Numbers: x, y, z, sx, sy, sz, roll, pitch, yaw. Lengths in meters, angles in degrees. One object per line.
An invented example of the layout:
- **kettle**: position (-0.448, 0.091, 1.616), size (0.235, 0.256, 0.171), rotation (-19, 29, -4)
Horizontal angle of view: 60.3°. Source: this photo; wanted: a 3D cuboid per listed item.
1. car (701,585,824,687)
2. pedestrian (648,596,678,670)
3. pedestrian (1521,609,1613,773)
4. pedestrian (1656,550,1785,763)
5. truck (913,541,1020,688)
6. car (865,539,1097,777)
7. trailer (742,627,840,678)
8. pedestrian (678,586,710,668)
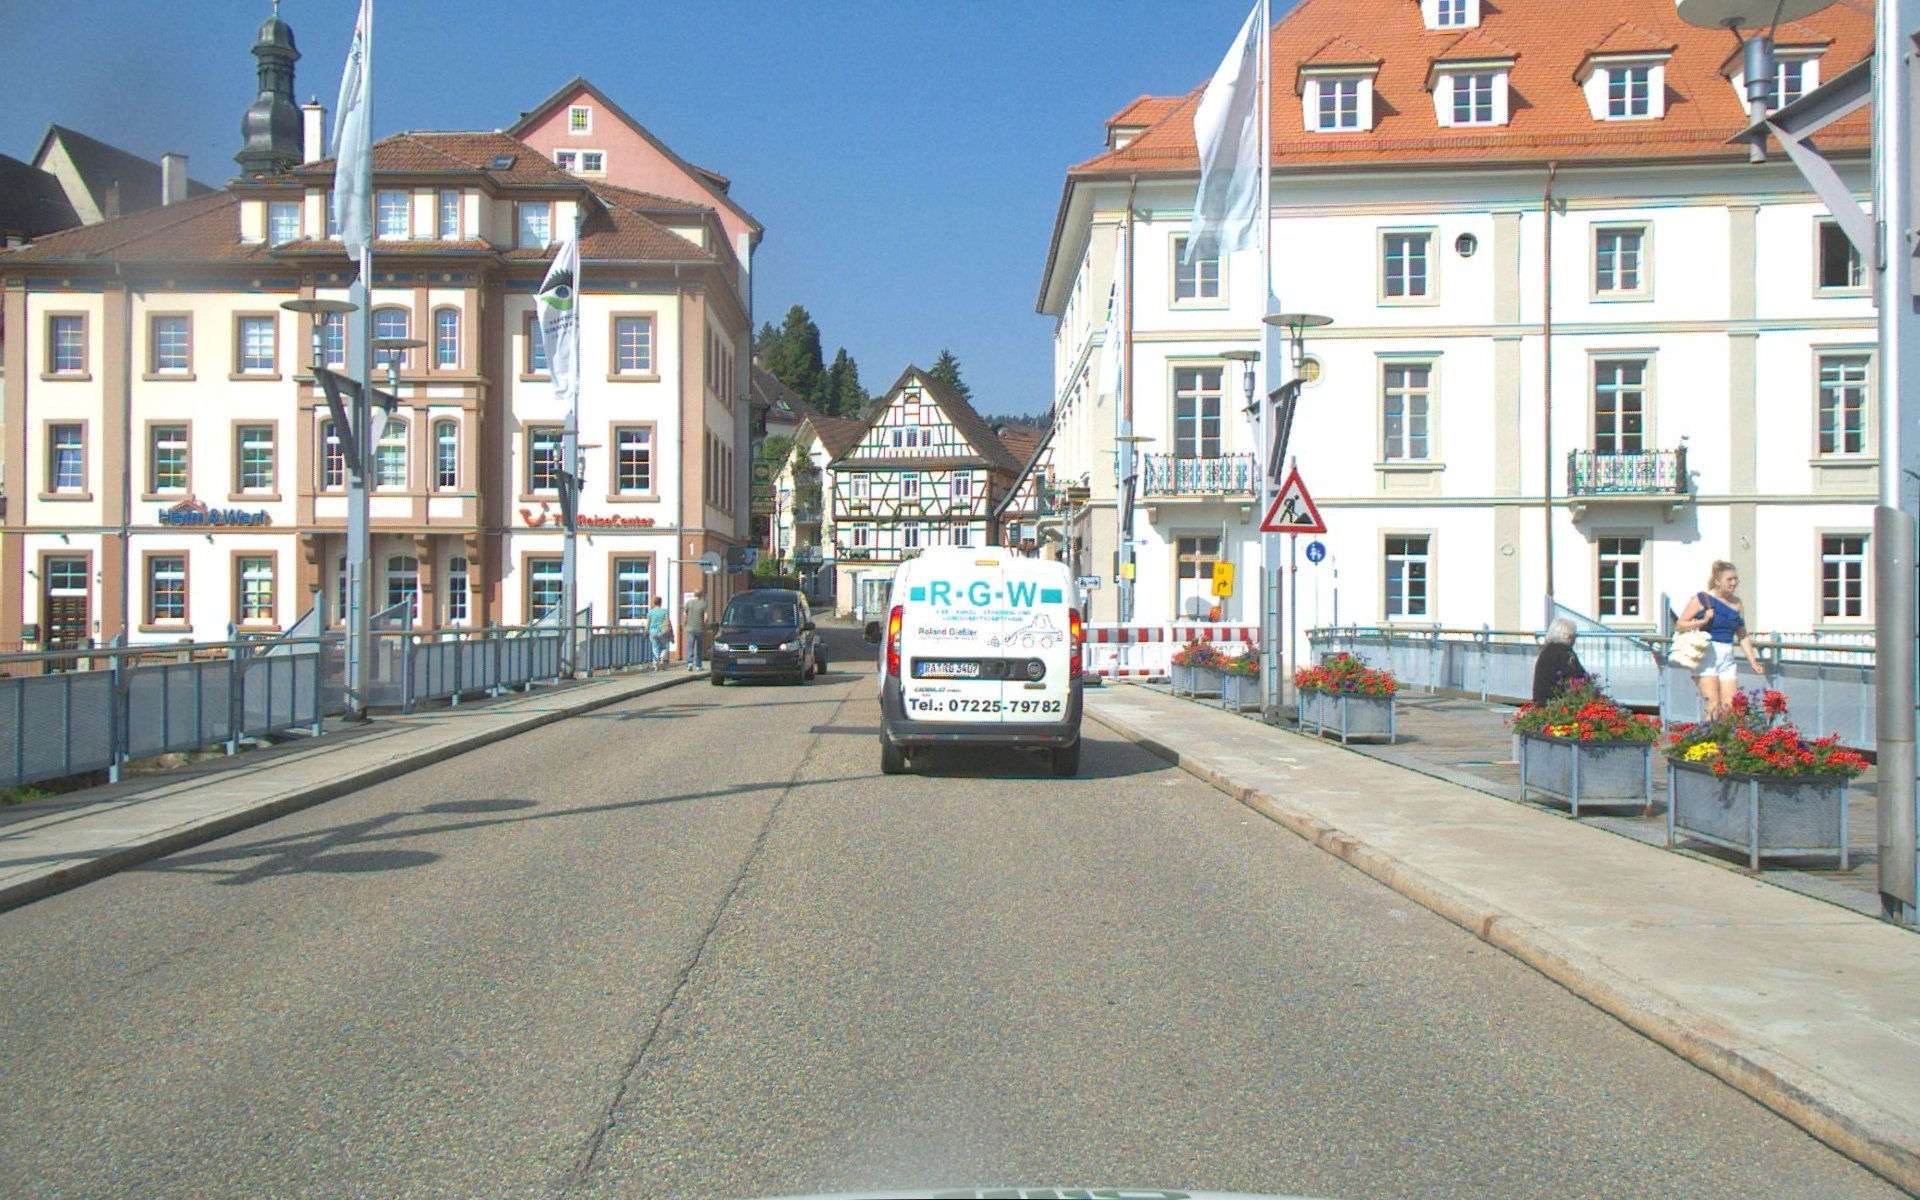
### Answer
- **car**: position (-3.787, 0.642, 32.378), size (1.740, 1.824, 4.697), rotation (1, 0, 1)
- **pedestrian**: position (-6.671, 0.737, 37.173), size (0.572, 1.638, 0.537), rotation (1, 0, -4)
- **pedestrian**: position (4.837, 0.710, 13.196), size (0.443, 1.266, 0.625), rotation (0, -1, -7)
- **pedestrian**: position (6.440, 0.467, 14.040), size (0.711, 1.753, 0.746), rotation (0, 0, -5)
- **truck**: position (0.051, 0.270, 31.916), size (1.824, 2.630, 4.258), rotation (1, 0, -3)
- **car**: position (0.059, 0.490, 15.749), size (1.808, 1.939, 4.310), rotation (1, 0, -5)
- **trailer**: position (-3.697, 1.134, 36.837), size (1.714, 1.040, 4.185), rotation (-1, -1, 0)
- **pedestrian**: position (-5.920, 0.594, 36.854), size (0.602, 1.793, 0.863), rotation (1, 0, -4)
